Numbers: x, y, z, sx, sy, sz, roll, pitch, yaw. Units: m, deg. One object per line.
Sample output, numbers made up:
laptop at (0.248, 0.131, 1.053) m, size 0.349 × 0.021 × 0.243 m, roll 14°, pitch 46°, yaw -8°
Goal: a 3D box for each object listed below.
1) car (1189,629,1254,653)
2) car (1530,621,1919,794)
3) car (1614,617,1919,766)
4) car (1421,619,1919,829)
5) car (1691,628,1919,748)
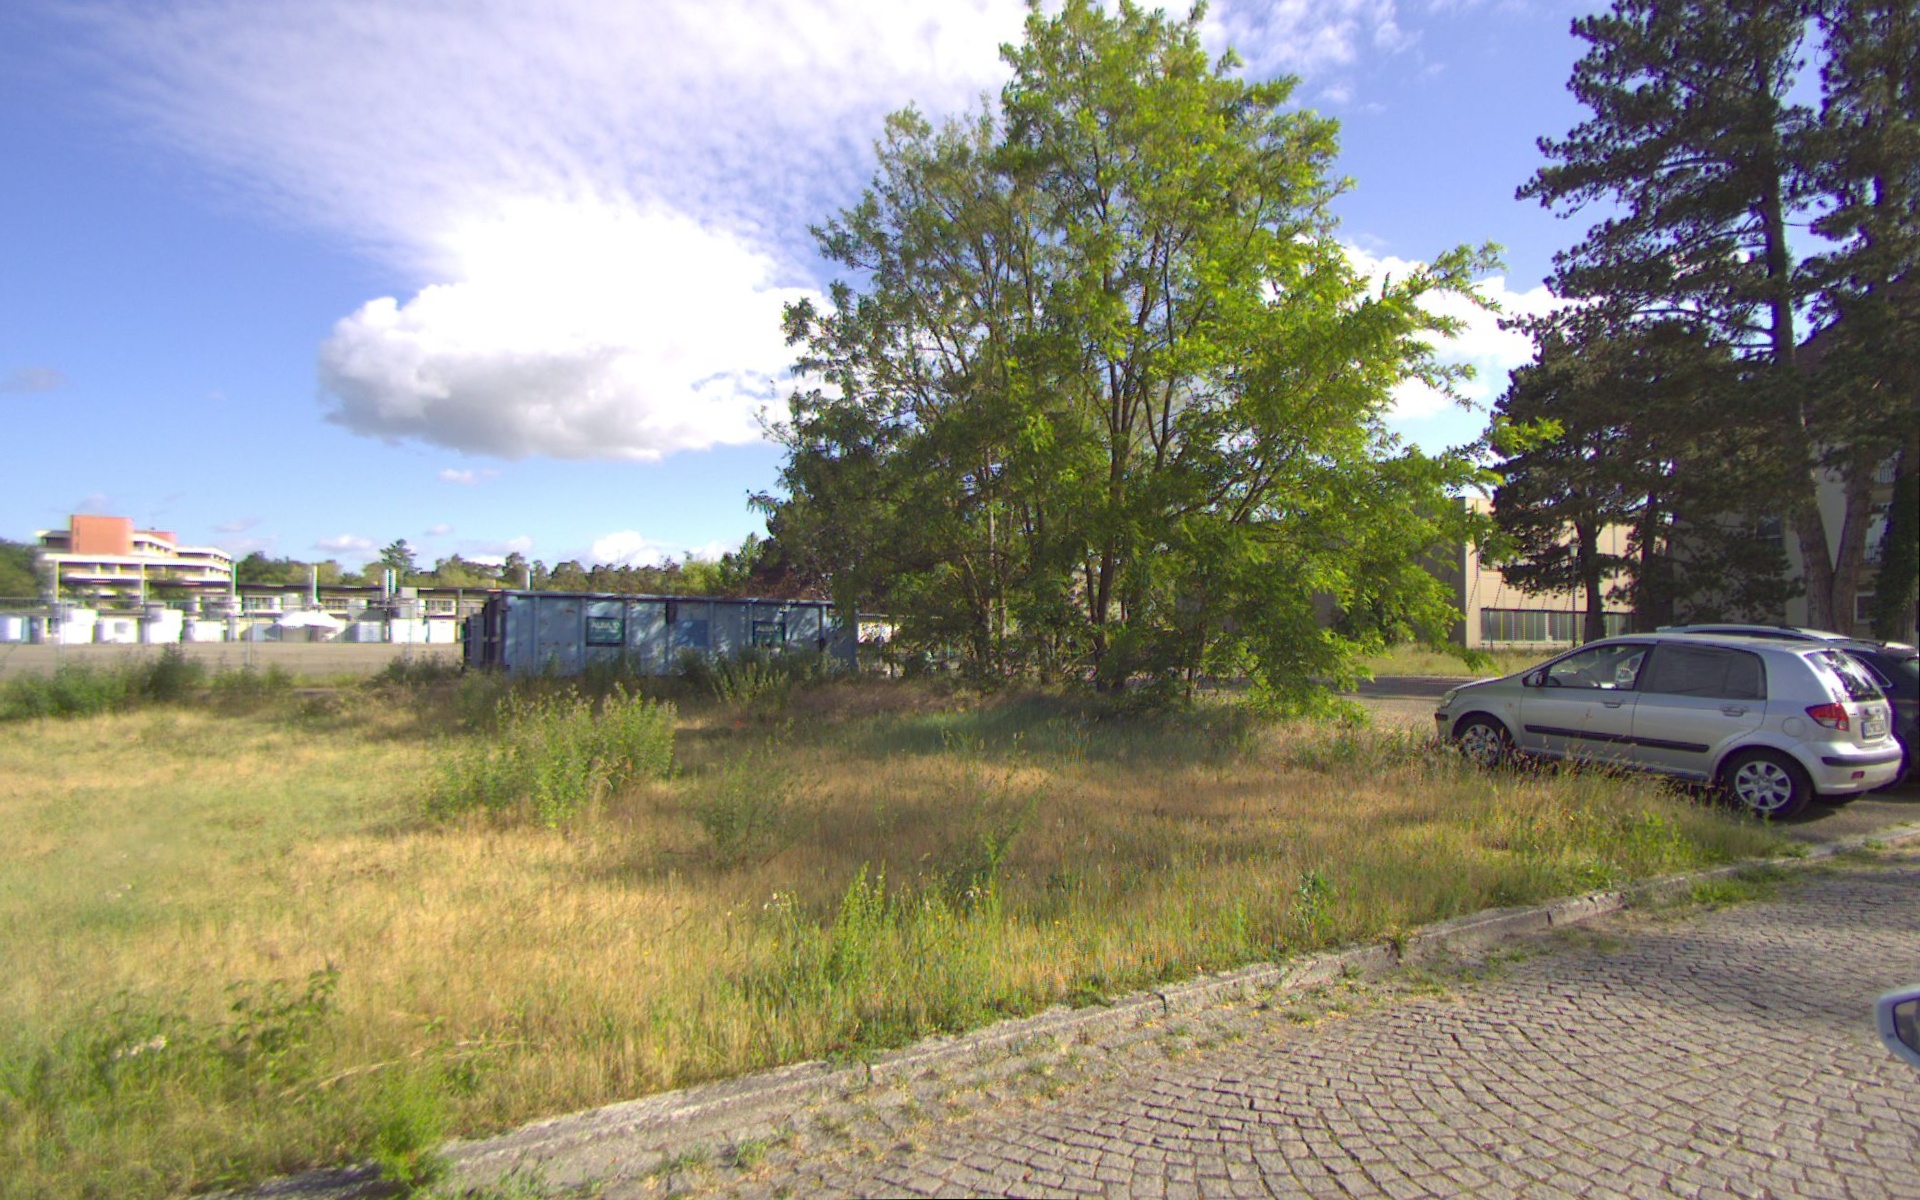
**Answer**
car at (17.060, 2.671, 65.498) m, size 3.952 × 1.452 × 1.894 m, roll 2°, pitch -2°, yaw -29°
car at (8.881, 1.050, 11.256) m, size 1.783 × 1.500 × 3.965 m, roll 1°, pitch 0°, yaw -32°
car at (11.198, 1.097, 13.112) m, size 1.864 × 1.614 × 4.057 m, roll 1°, pitch 0°, yaw -32°
car at (6.686, 0.997, 9.770) m, size 1.628 × 1.507 × 3.725 m, roll 1°, pitch 0°, yaw -32°
car at (13.266, 1.232, 14.266) m, size 1.810 × 1.488 × 4.309 m, roll 1°, pitch 0°, yaw -32°
